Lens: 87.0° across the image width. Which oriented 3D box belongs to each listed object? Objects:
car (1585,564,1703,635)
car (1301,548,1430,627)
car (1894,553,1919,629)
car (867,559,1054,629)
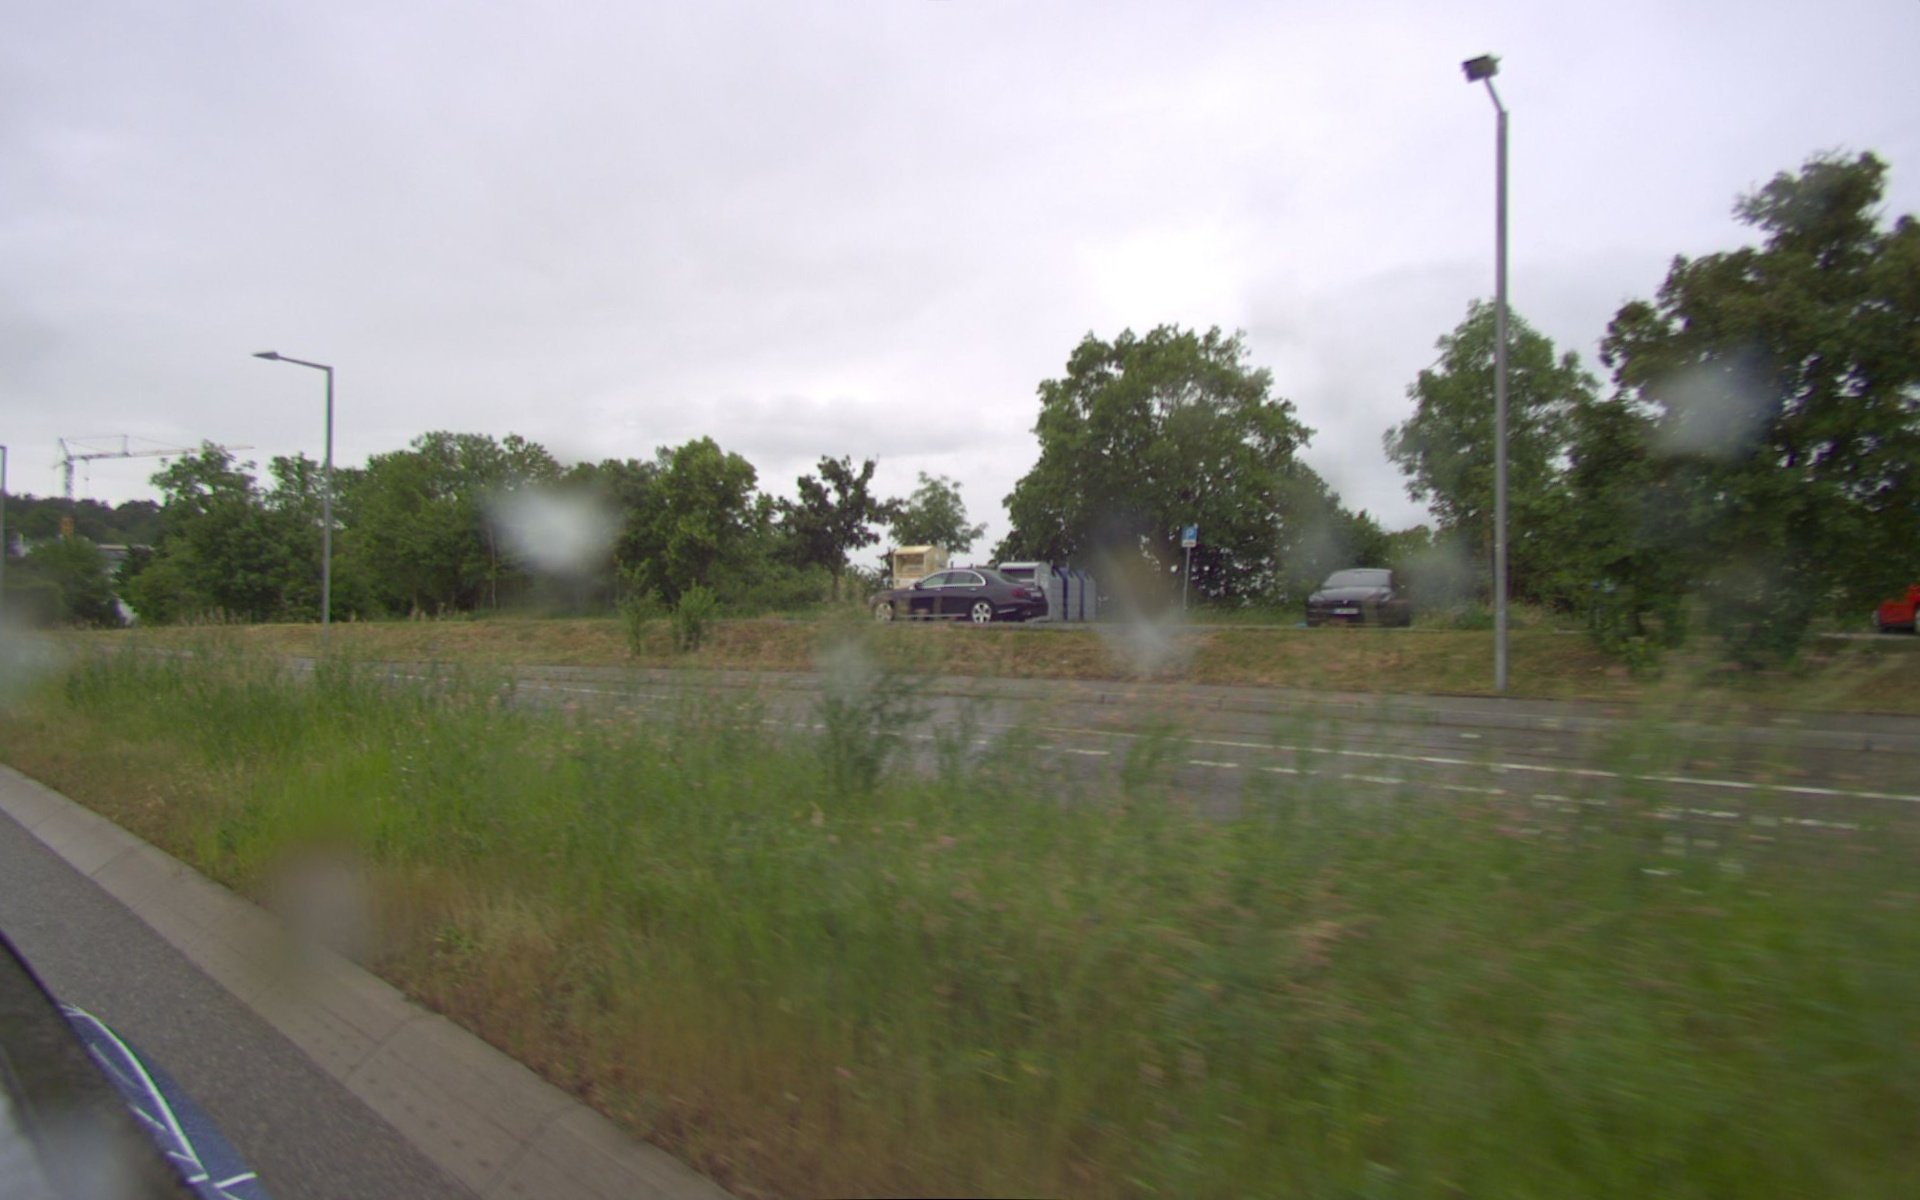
[{"bbox_3d":[14.549,-0.048,21.493,1.896,1.374,3.952,-1,1,36],"label":"car"},{"bbox_3d":[9.832,-0.211,24.303,1.999,1.706,4.668,-1,-2,33],"label":"car"},{"bbox_3d":[19.529,-0.176,19.346,1.843,1.480,3.954,-1,-2,34],"label":"car"},{"bbox_3d":[-0.036,-0.125,25.610,4.528,1.580,1.678,-2,0,33],"label":"car"}]
